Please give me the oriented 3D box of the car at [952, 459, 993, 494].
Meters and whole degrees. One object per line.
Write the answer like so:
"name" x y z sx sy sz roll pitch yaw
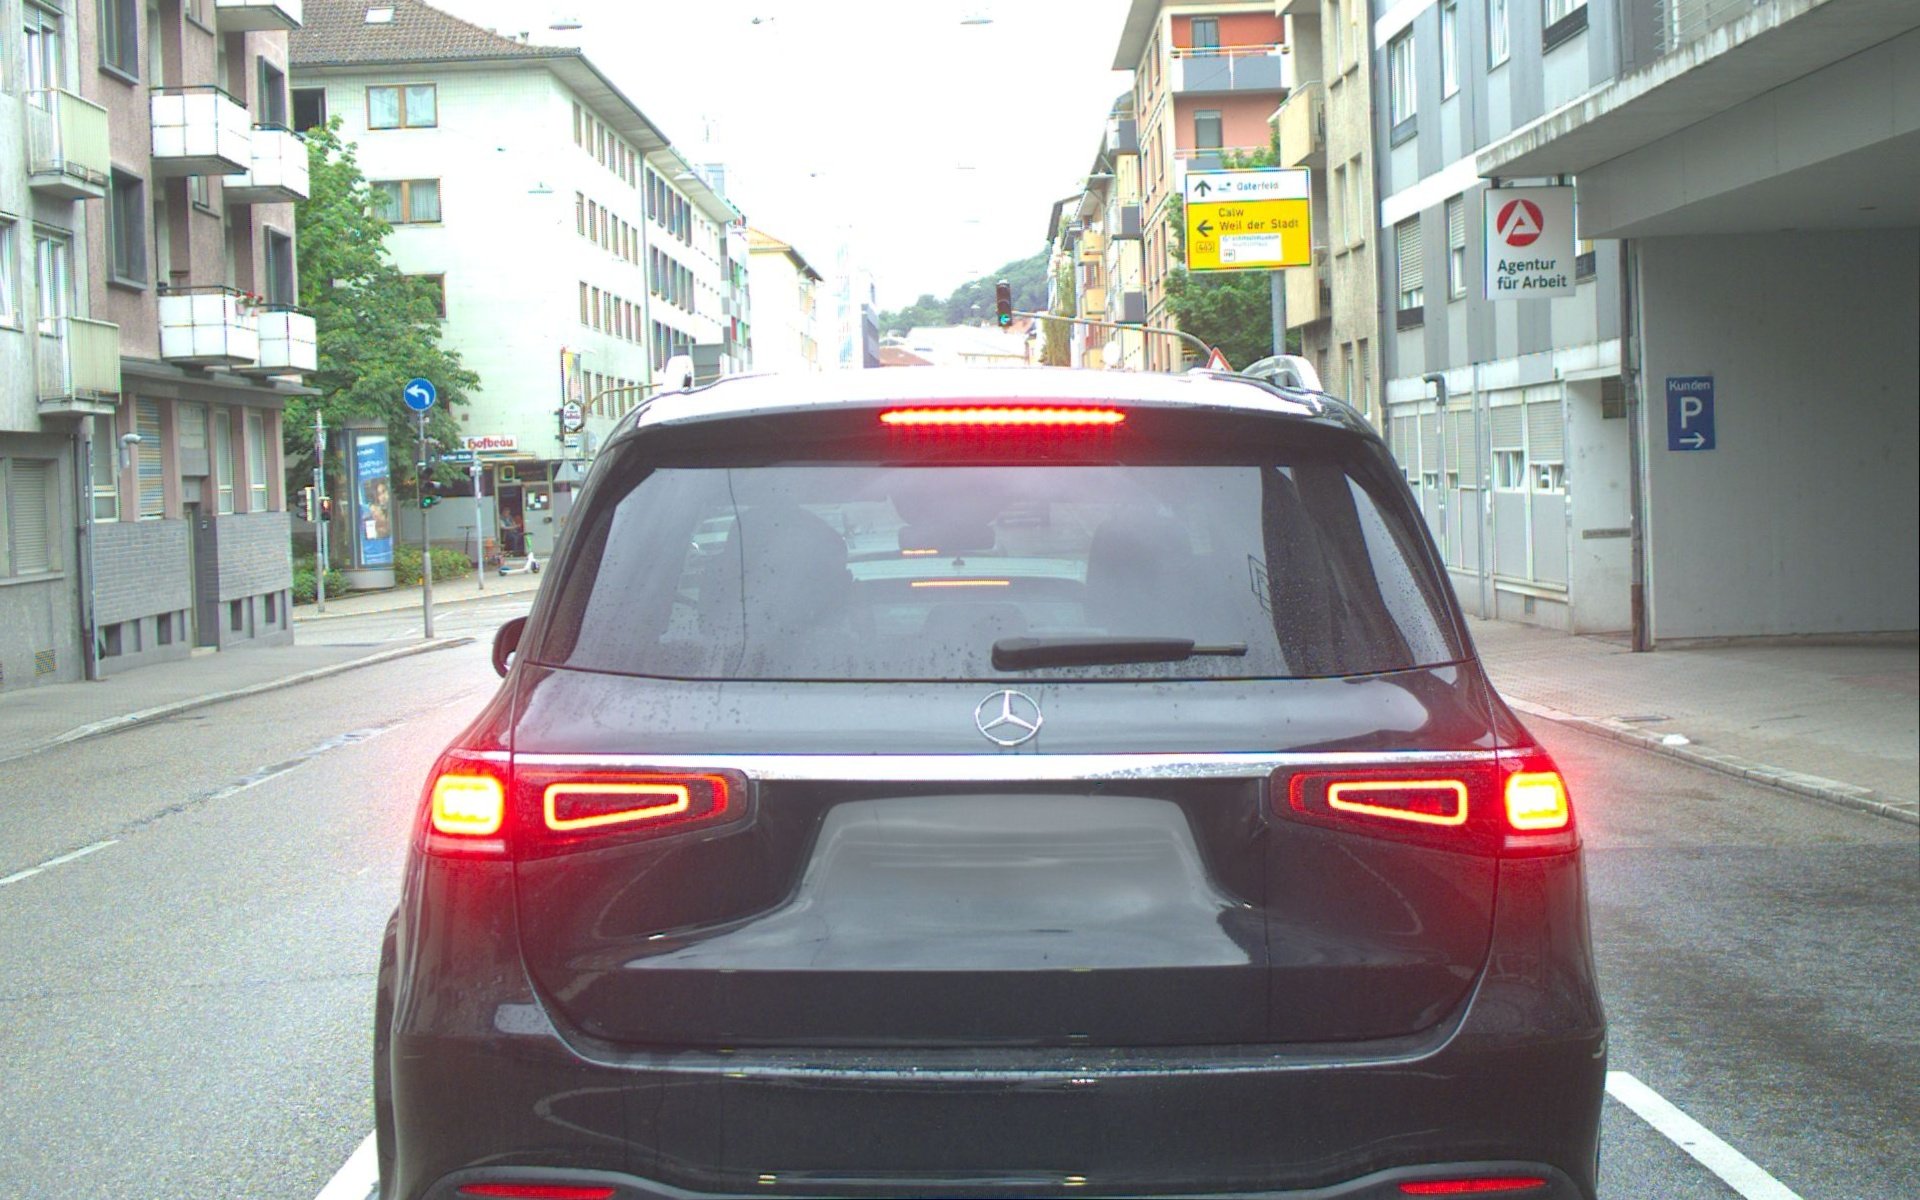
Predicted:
"car" 0.557 -5.678 158.315 1.618 1.382 4.218 -3 1 -3

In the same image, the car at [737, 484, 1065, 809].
"car" -0.422 0.234 20.843 1.751 1.725 4.218 -1 1 -3

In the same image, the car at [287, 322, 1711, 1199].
"car" 0.027 0.502 7.029 1.985 1.799 4.390 1 1 -1

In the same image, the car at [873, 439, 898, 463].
"car" -5.455 -10.842 250.121 1.618 1.534 4.218 -3 1 -3

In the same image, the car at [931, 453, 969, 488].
"car" -0.496 -6.419 170.611 1.618 1.534 4.218 -3 1 -3

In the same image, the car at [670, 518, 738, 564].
"car" -7.697 -1.760 103.745 1.885 1.260 4.218 -3 1 -3

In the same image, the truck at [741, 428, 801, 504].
"truck" -8.605 -6.084 157.014 2.479 3.035 9.921 -3 1 -3

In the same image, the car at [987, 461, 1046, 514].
"car" 1.992 -4.001 122.581 1.723 1.753 4.218 -3 2 -3

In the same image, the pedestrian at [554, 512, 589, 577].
"pedestrian" -10.681 -1.525 94.434 0.636 1.758 0.772 -2 1 16

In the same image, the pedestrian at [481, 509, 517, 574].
"pedestrian" -13.649 -1.732 101.790 0.923 1.895 0.706 -2 1 -2

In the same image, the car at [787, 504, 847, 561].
"car" -4.226 -1.981 101.228 1.618 1.534 4.218 -3 1 -3

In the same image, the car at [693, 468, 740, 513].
"car" -9.313 -4.193 131.597 1.618 1.534 4.218 -3 1 -3

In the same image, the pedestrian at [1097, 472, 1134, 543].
"pedestrian" 4.492 -2.666 99.407 0.923 2.007 0.706 -2 1 -2

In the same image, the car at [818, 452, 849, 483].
"car" -7.134 -7.471 193.643 1.618 1.534 4.218 -3 1 -3

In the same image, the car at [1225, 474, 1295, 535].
"car" 8.227 -2.617 94.615 1.671 1.583 3.330 -2 1 2
